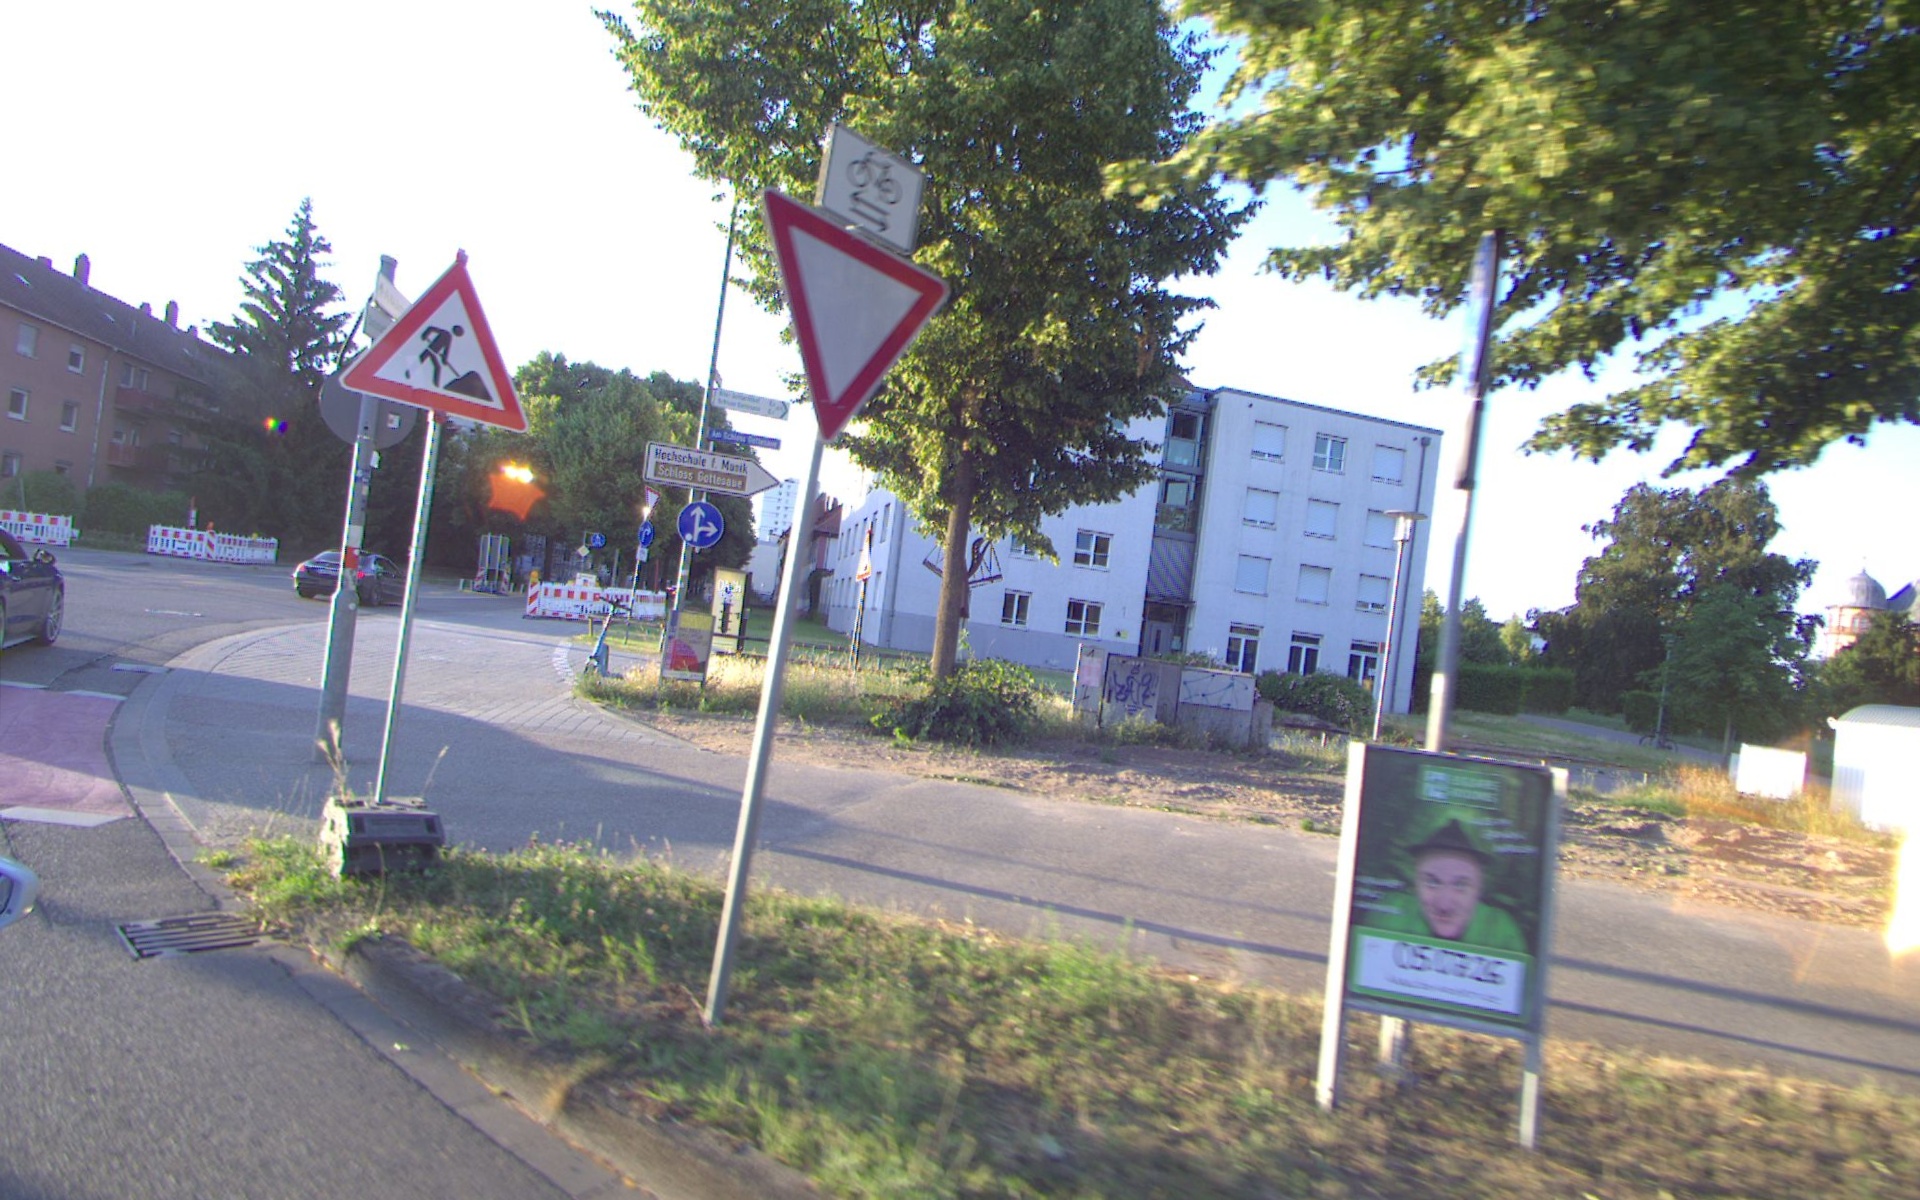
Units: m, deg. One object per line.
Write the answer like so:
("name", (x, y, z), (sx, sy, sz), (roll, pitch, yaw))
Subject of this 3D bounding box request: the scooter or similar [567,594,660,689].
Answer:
("scooter or similar", (-4.895, 0.609, 14.272), (0.434, 1.253, 1.123), (7, -1, 26))

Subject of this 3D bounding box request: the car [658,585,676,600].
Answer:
("car", (-39.056, -0.982, 134.389), (1.927, 1.620, 4.068), (9, -2, -14))

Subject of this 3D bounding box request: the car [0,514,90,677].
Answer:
("car", (-9.759, -0.182, 9.233), (1.940, 1.357, 4.629), (9, -2, -33))

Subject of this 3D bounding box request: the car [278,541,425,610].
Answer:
("car", (-16.632, -0.618, 27.783), (1.927, 1.443, 4.421), (9, -2, -11))

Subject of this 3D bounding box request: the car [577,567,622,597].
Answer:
("car", (-23.356, -1.175, 65.357), (1.926, 1.590, 4.420), (9, 0, -11))

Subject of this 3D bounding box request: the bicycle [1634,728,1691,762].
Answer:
("bicycle", (25.899, 5.340, 37.127), (0.399, 0.890, 1.843), (7, 1, -13))
